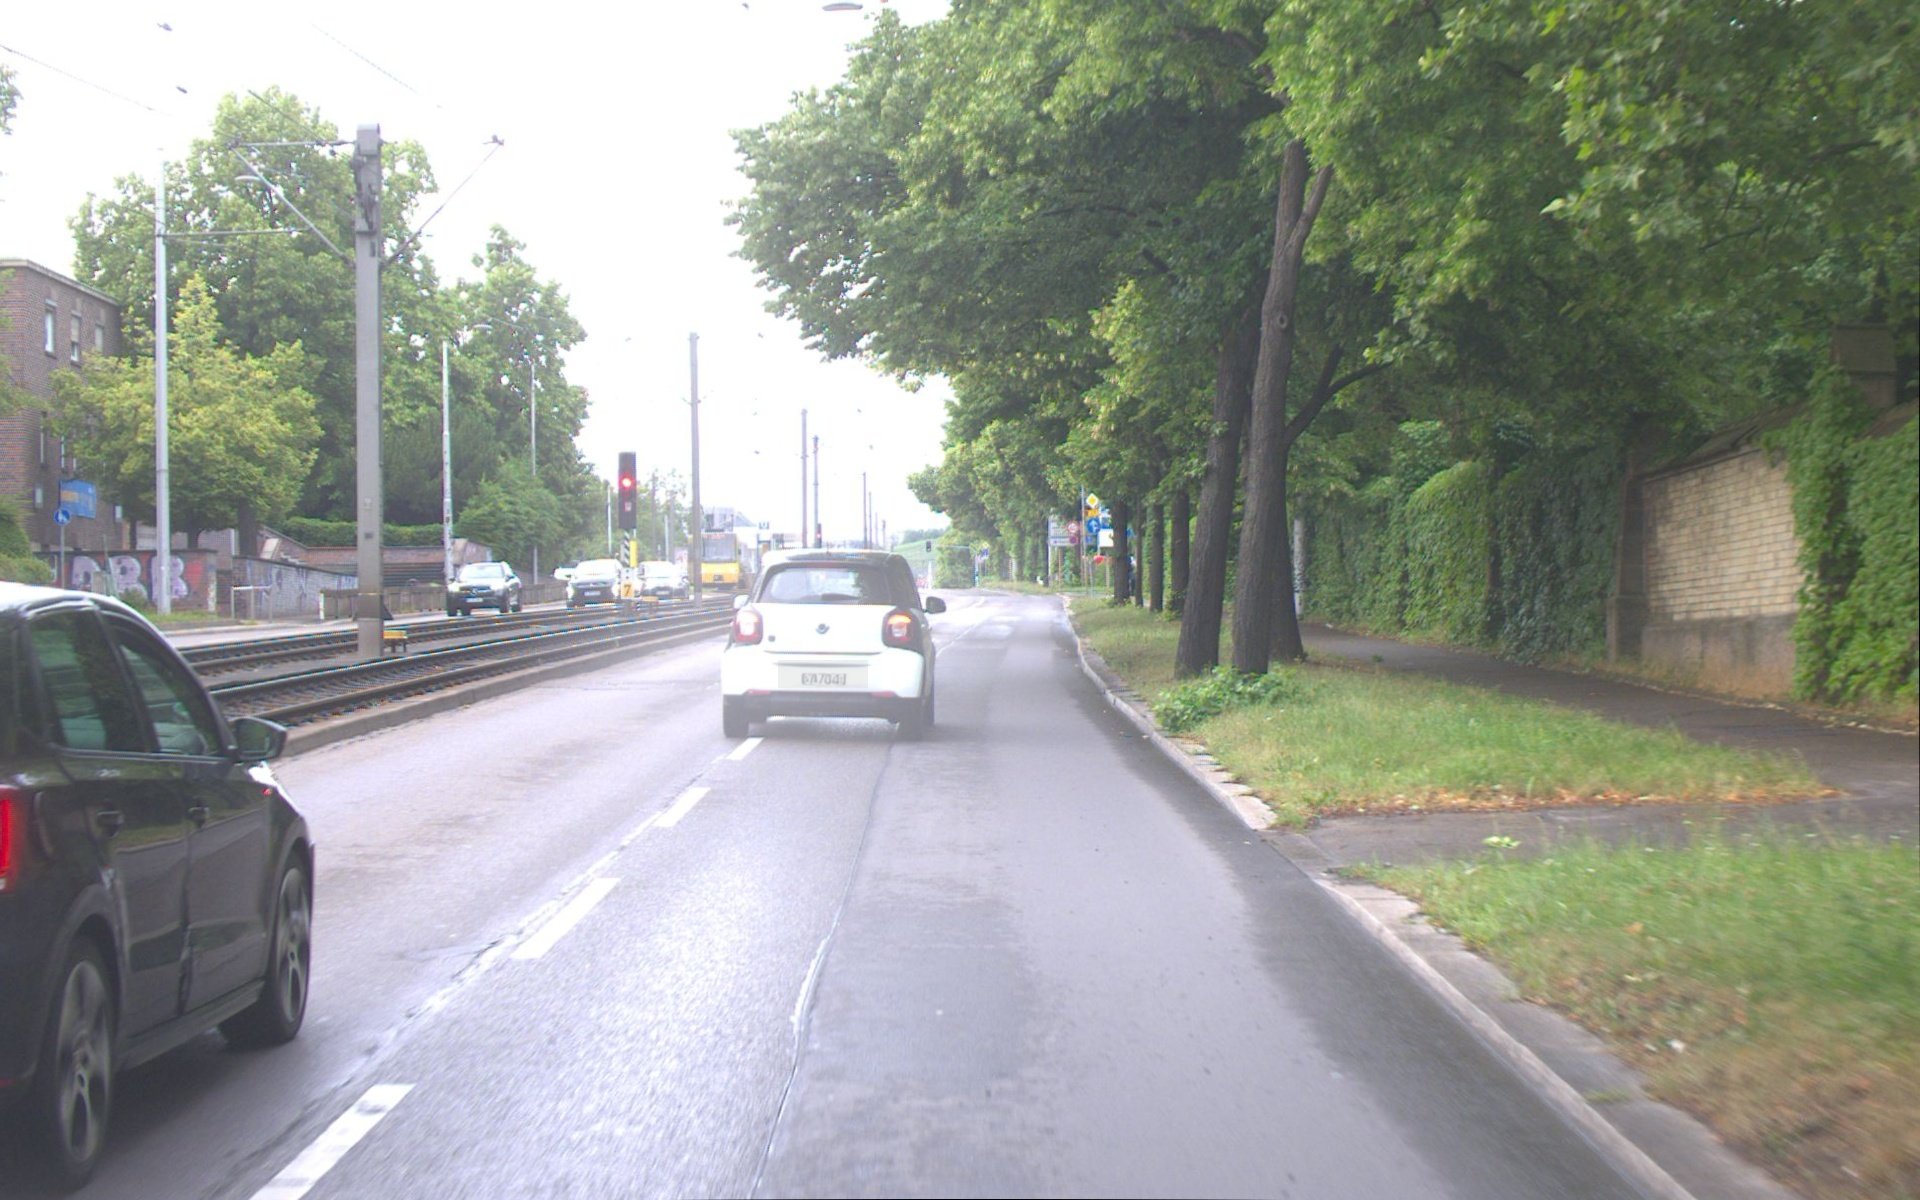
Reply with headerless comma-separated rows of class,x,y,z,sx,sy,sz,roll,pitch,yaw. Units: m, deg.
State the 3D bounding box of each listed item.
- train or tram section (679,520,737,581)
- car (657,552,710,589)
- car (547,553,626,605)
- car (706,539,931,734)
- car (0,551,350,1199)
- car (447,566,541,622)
train or tram section,-15.512,-3.063,211.171,2.831,3.593,9.273,1,1,-8
car,-11.024,-1.184,137.286,1.681,1.456,3.608,0,1,2
car,-12.026,-0.697,110.948,1.835,1.650,4.239,0,1,4
car,-1.134,0.285,29.053,1.676,1.525,3.721,-1,0,1
car,-2.853,0.628,9.211,1.794,1.480,3.965,1,1,-1
car,-14.520,-0.204,107.387,2.013,1.650,4.616,0,1,4
